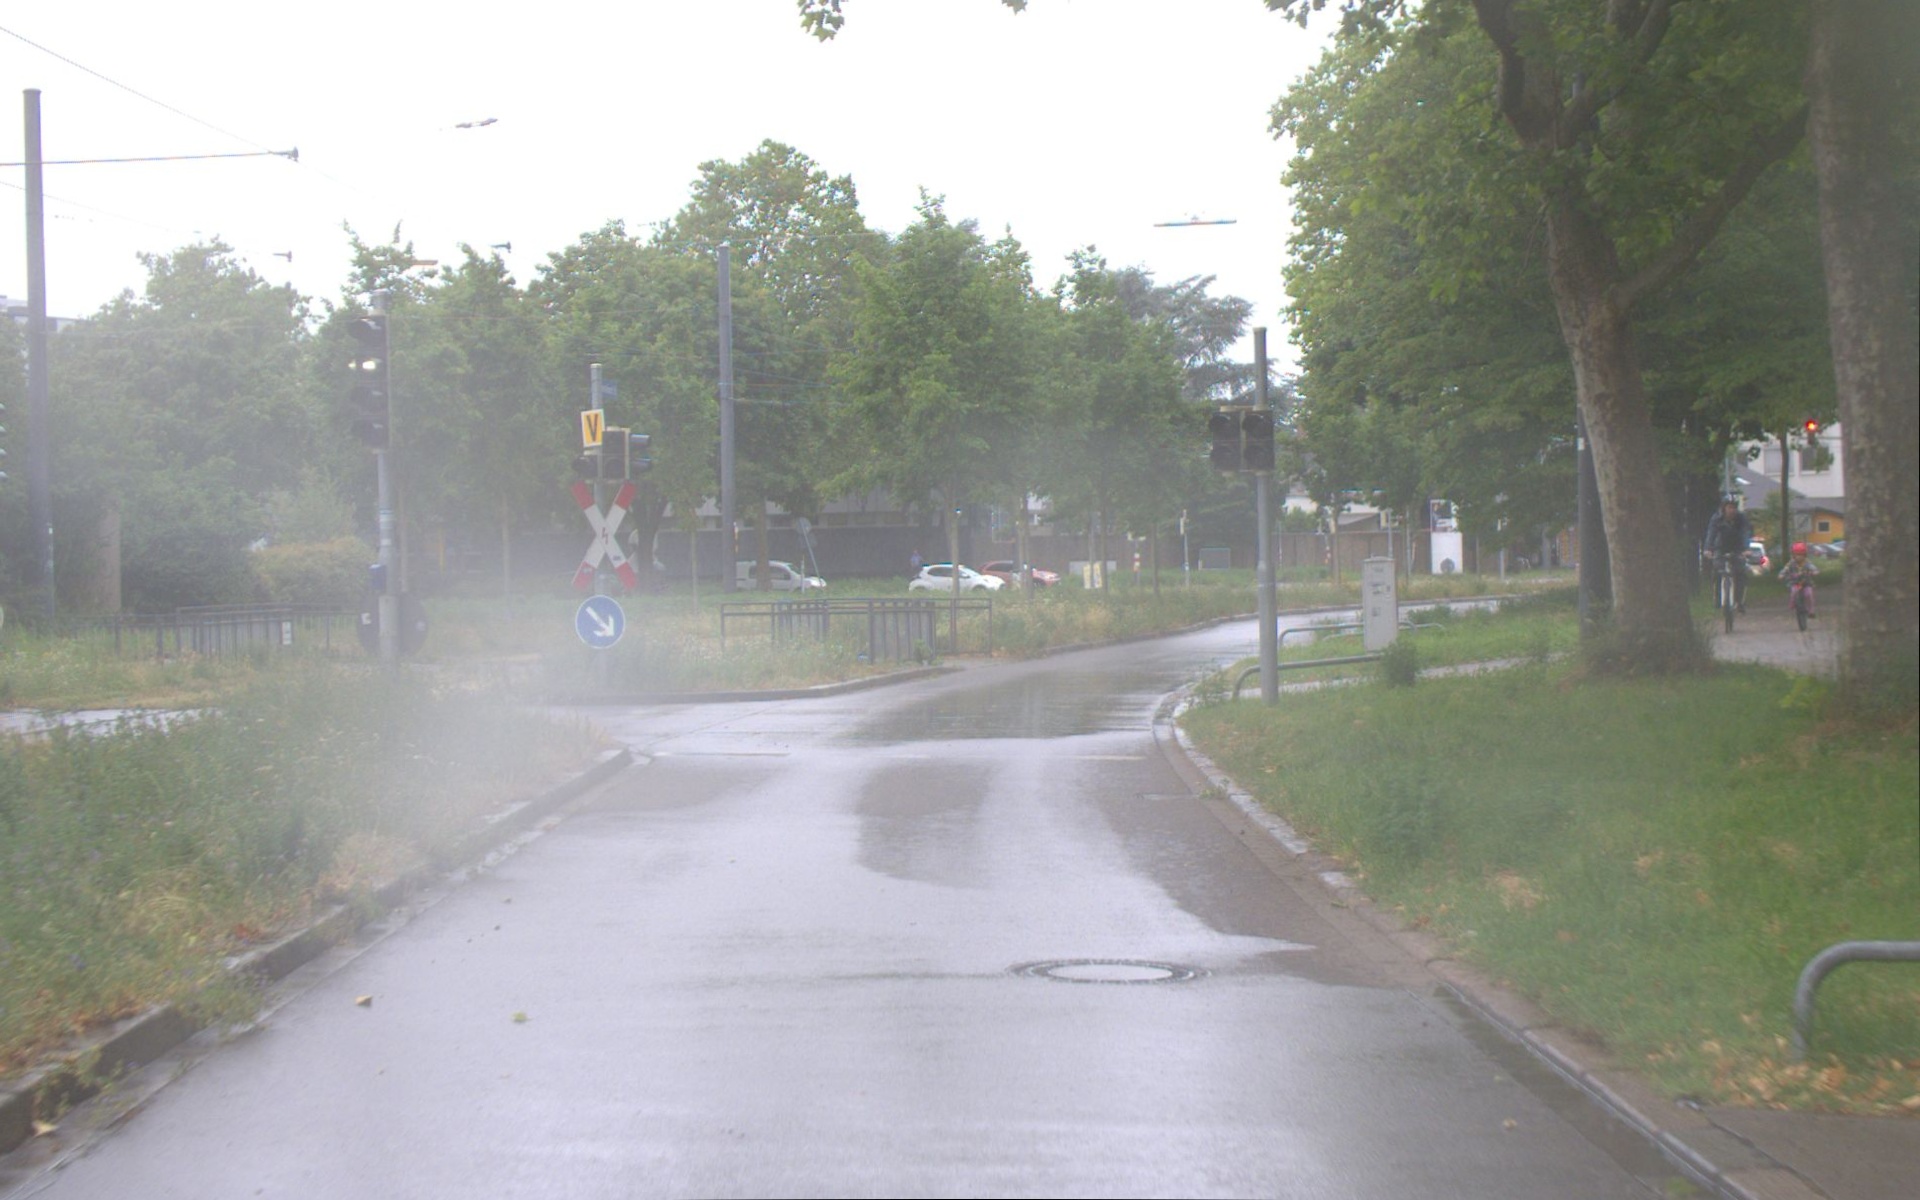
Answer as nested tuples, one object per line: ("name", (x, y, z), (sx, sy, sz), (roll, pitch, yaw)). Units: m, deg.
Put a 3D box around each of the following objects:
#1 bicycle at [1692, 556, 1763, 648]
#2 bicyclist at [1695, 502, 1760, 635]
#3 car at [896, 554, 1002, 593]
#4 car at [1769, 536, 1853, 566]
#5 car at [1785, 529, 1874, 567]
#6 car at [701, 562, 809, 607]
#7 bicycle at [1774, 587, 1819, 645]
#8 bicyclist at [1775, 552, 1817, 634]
("bicycle", (10.095, 0.017, 45.173), (0.712, 1.138, 1.970), (-1, 2, 18))
("bicyclist", (10.084, -0.420, 45.162), (0.712, 1.715, 0.956), (-1, 1, 18))
("car", (-0.465, -1.106, 142.500), (4.068, 1.494, 1.651), (-1, 0, 16))
("car", (43.262, -2.504, 174.806), (3.756, 1.437, 1.759), (-1, 0, 31))
("car", (44.959, -2.666, 177.803), (4.143, 1.853, 1.670), (-1, 0, 34))
("car", (-8.665, -0.658, 145.223), (4.213, 1.790, 1.651), (-1, 2, 18))
("bicycle", (10.901, 0.203, 44.799), (0.487, 0.706, 1.456), (-1, 1, 17))
("bicyclist", (10.889, -0.092, 44.763), (0.487, 1.035, 0.591), (-1, 1, 17))
